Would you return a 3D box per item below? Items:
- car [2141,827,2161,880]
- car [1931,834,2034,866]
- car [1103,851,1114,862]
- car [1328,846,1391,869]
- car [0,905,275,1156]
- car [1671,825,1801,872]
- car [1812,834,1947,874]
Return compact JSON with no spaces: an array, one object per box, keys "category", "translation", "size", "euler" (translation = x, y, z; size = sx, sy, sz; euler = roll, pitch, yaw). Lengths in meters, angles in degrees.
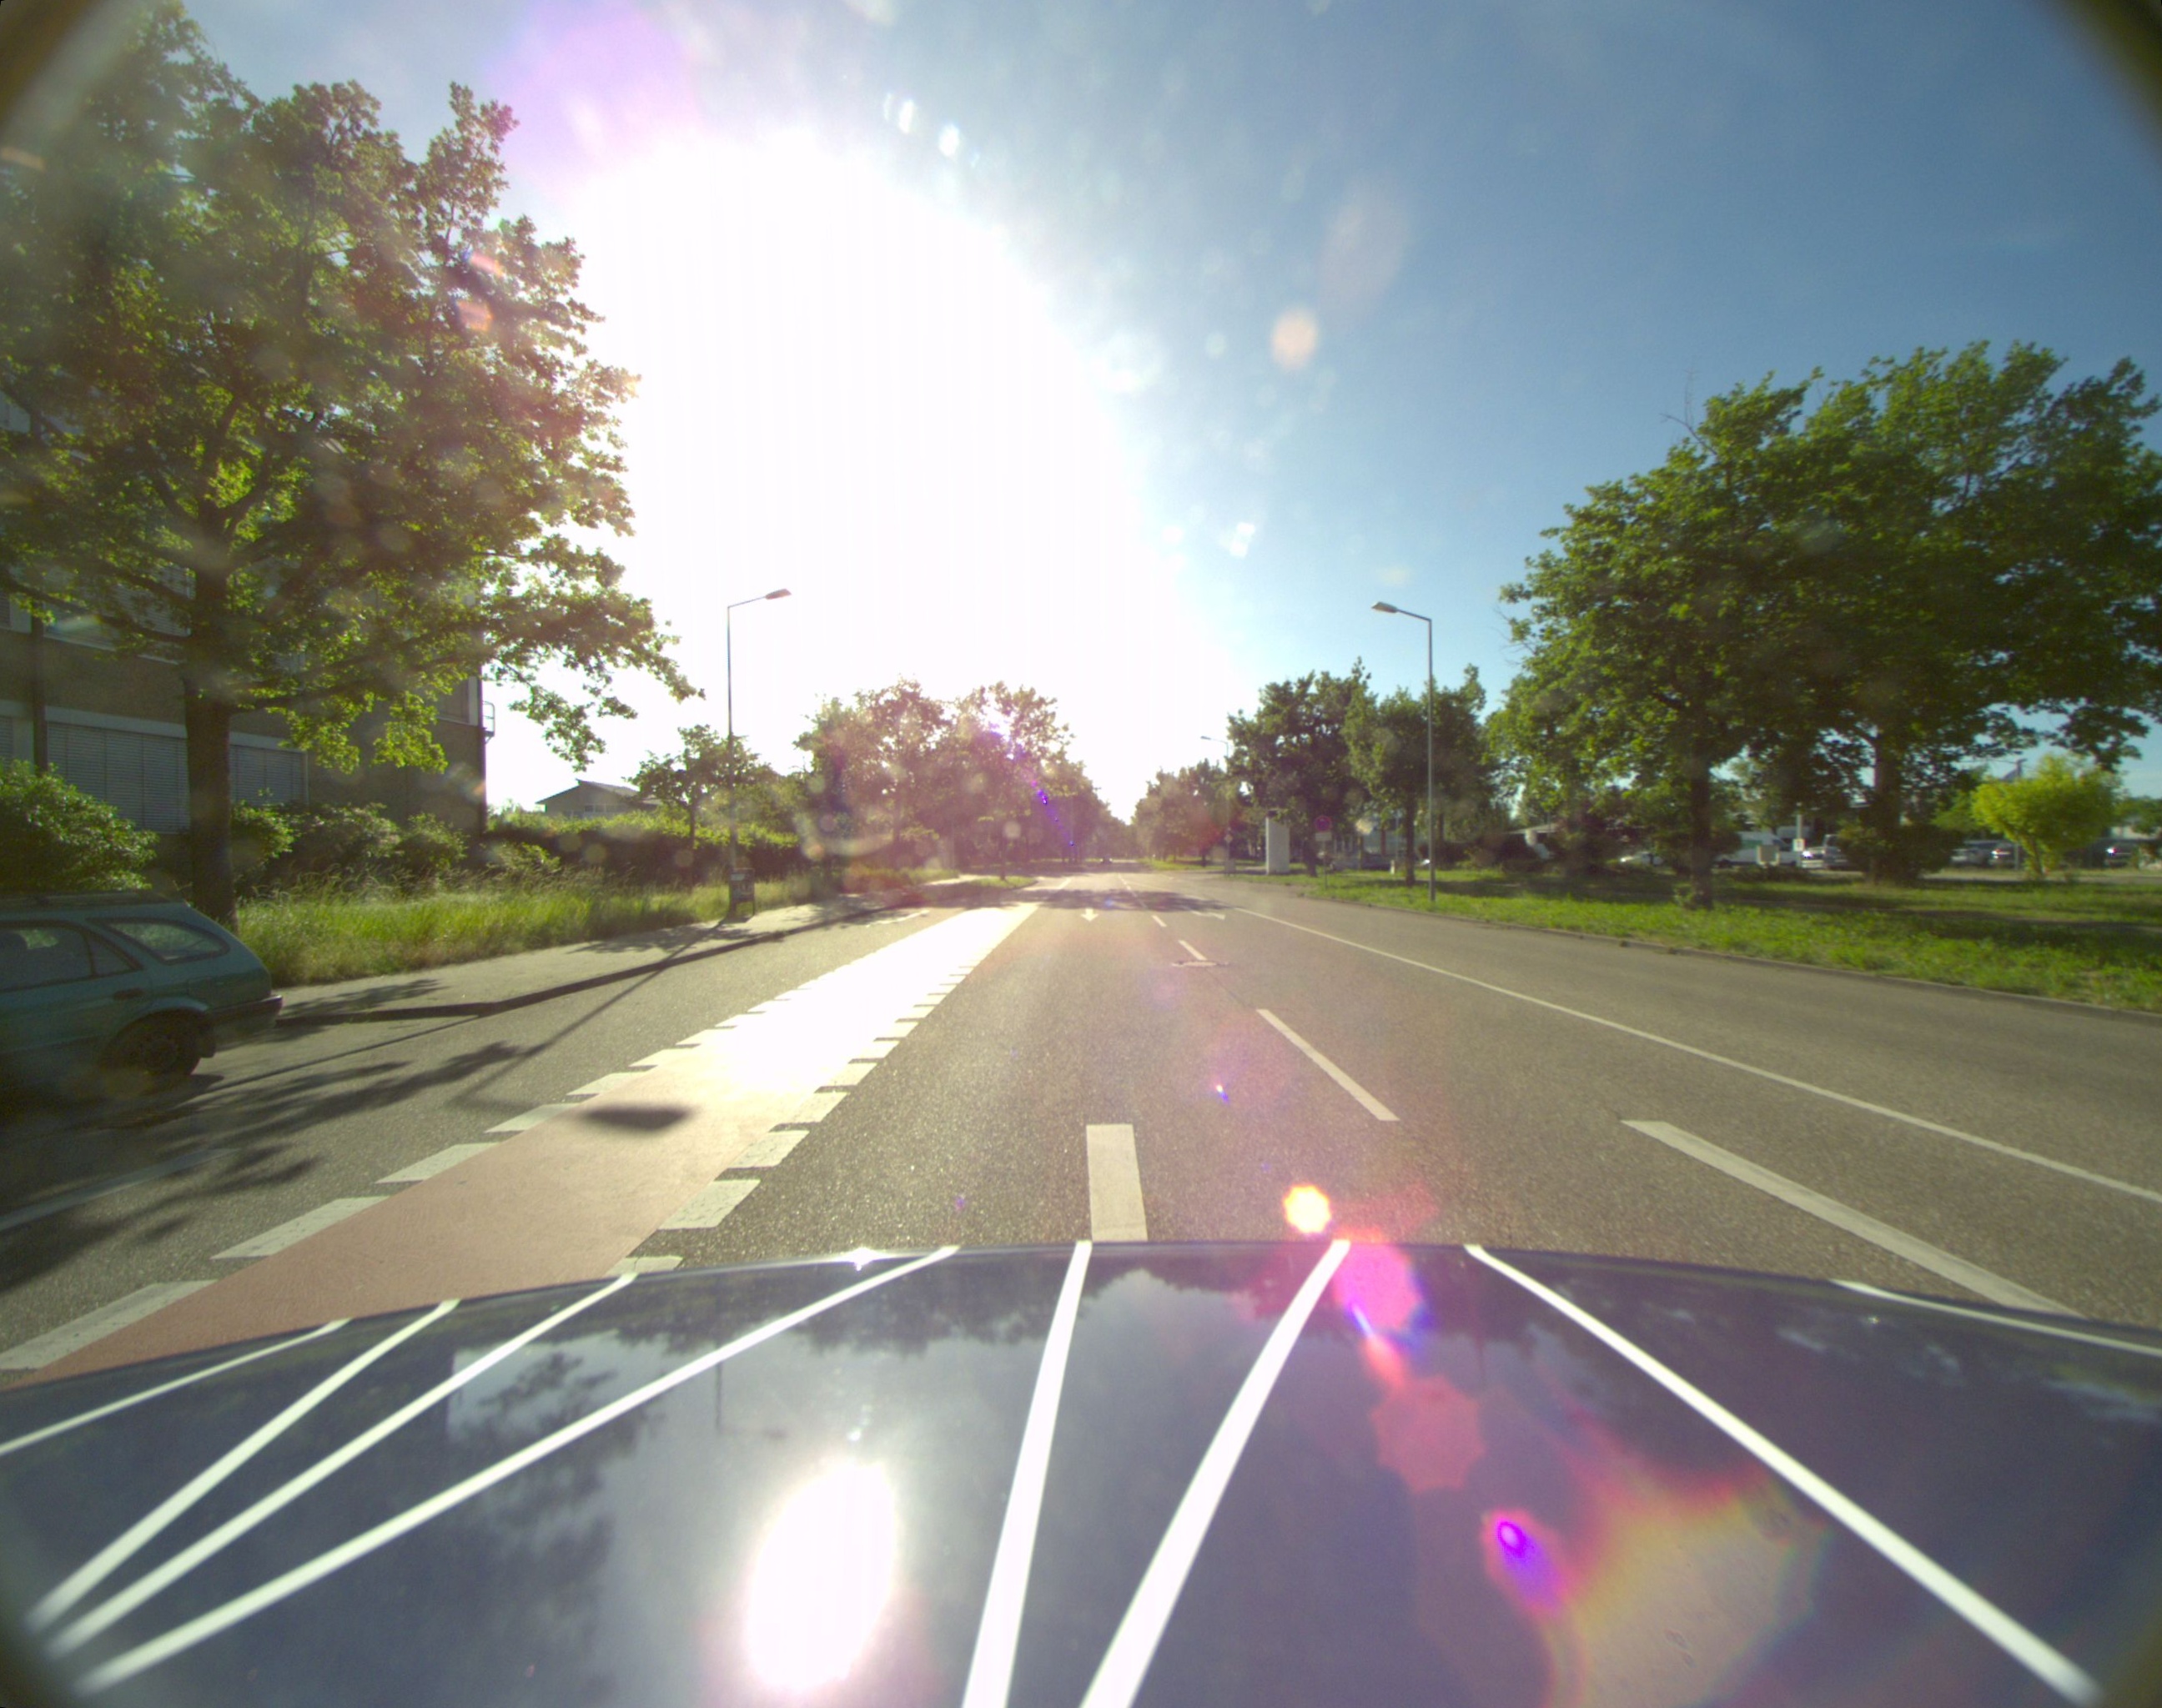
[{"category":"car","translation":[33.885,-0.089,22.022],"size":[3.817,1.562,1.736],"euler":[-2,-1,0]},{"category":"car","translation":[52.087,-0.212,43.941],"size":[3.860,1.661,1.762],"euler":[-2,1,0]},{"category":"car","translation":[3.910,0.372,108.104],"size":[1.653,1.460,3.941],"euler":[-1,0,2]},{"category":"car","translation":[23.929,0.294,65.353],"size":[4.637,1.822,2.000],"euler":[-2,1,0]},{"category":"car","translation":[-7.529,1.131,4.205],"size":[1.706,1.460,4.141],"euler":[-1,-1,0]},{"category":"car","translation":[39.899,-0.342,46.379],"size":[6.023,2.540,2.409],"euler":[-2,1,-4]},{"category":"car","translation":[40.059,-0.009,38.202],"size":[4.642,1.771,1.990],"euler":[-2,1,0]}]
